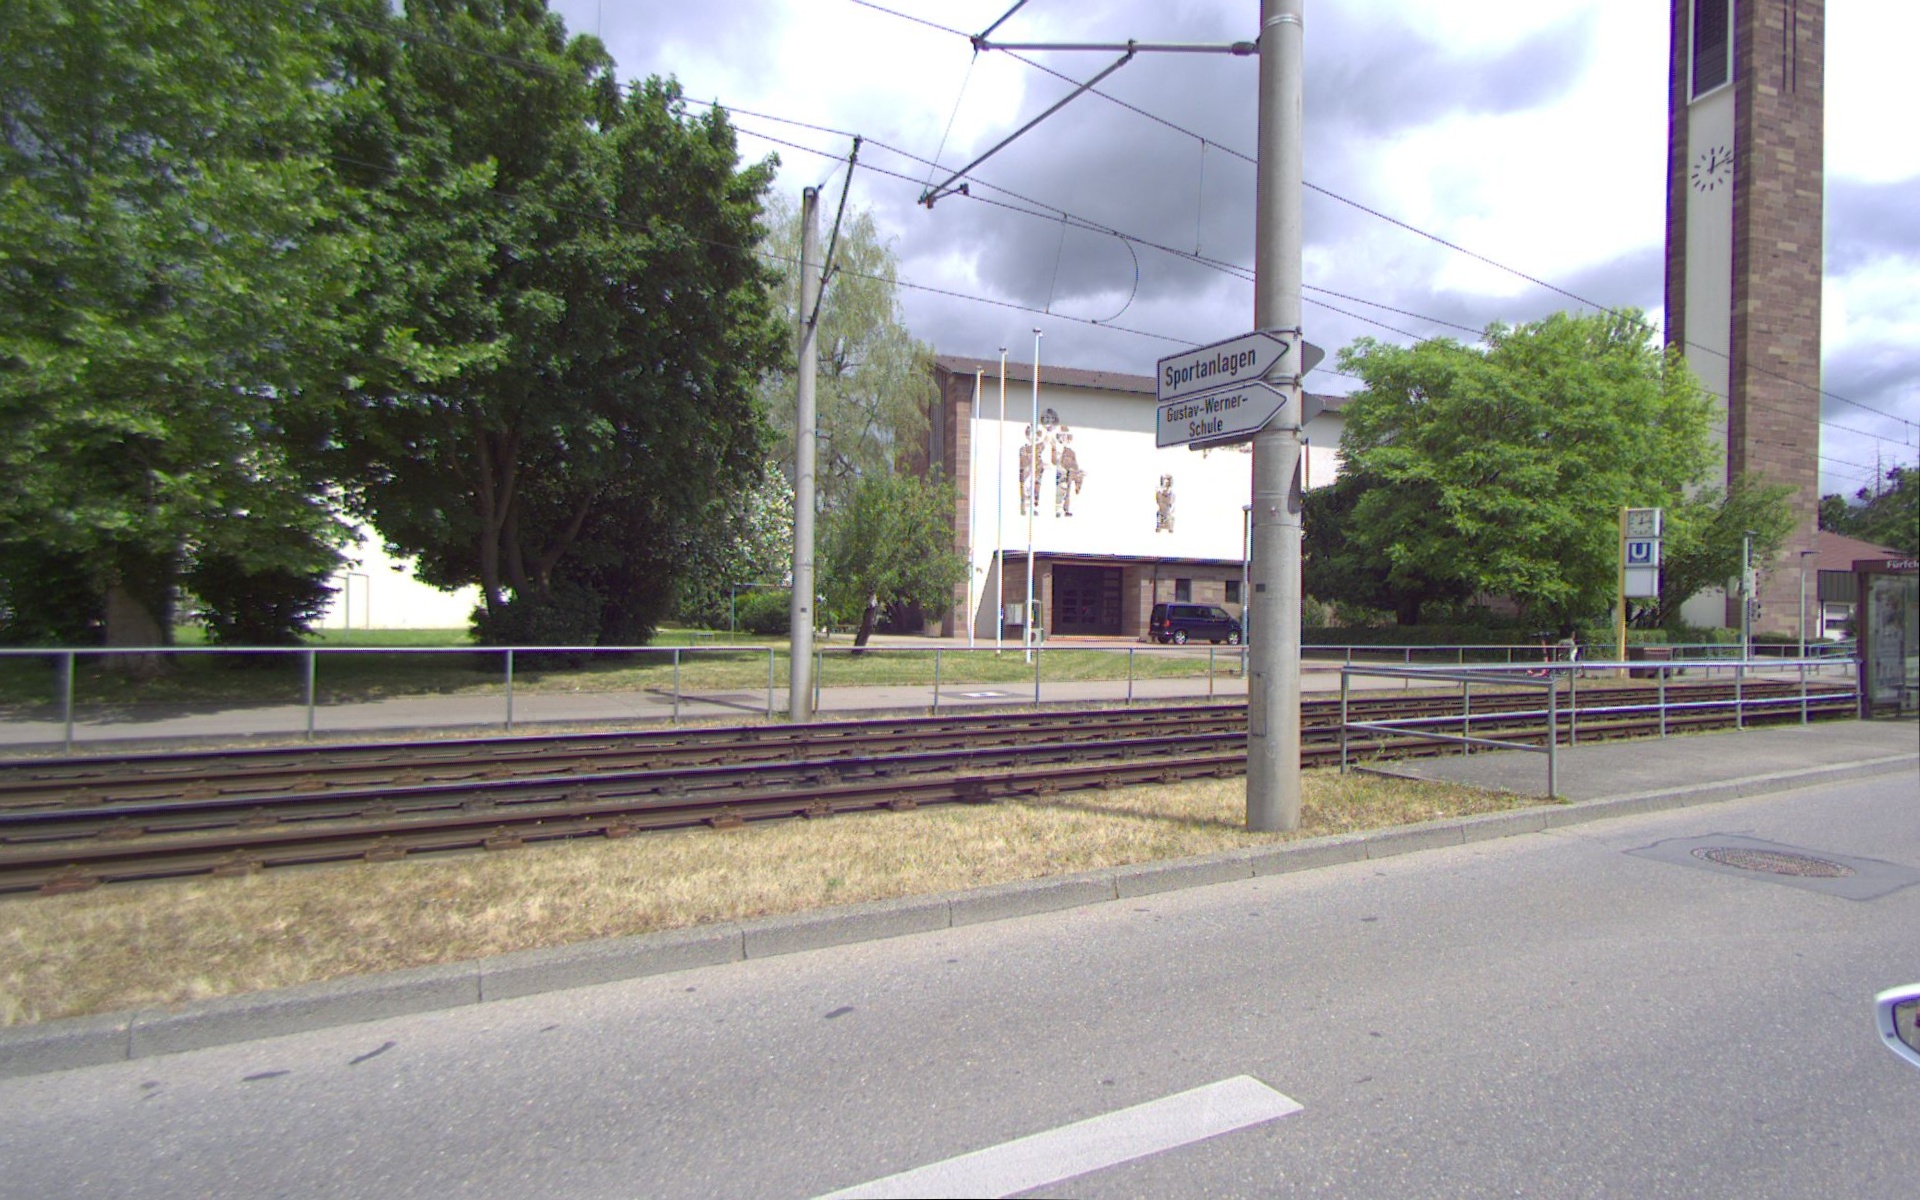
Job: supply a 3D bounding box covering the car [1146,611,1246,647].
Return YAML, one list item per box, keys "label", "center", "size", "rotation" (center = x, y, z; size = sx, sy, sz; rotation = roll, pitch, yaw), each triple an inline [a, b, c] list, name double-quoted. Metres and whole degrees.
- label: "car"
  center: [11.701, 1.427, 49.914]
  size: [4.399, 1.595, 1.995]
  rotation: [2, 1, -13]

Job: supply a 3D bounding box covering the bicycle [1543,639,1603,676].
- label: "bicycle"
  center: [17.633, 1.651, 28.881]
  size: [1.906, 1.007, 0.634]
  rotation: [2, 1, -31]

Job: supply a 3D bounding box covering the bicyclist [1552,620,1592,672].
- label: "bicyclist"
  center: [17.645, 1.308, 28.955]
  size: [0.781, 1.448, 0.630]
  rotation: [1, 1, -31]

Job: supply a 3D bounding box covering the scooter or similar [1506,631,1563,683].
- label: "scooter or similar"
  center: [14.707, 1.437, 25.717]
  size: [1.384, 1.253, 0.646]
  rotation: [0, 1, -30]
